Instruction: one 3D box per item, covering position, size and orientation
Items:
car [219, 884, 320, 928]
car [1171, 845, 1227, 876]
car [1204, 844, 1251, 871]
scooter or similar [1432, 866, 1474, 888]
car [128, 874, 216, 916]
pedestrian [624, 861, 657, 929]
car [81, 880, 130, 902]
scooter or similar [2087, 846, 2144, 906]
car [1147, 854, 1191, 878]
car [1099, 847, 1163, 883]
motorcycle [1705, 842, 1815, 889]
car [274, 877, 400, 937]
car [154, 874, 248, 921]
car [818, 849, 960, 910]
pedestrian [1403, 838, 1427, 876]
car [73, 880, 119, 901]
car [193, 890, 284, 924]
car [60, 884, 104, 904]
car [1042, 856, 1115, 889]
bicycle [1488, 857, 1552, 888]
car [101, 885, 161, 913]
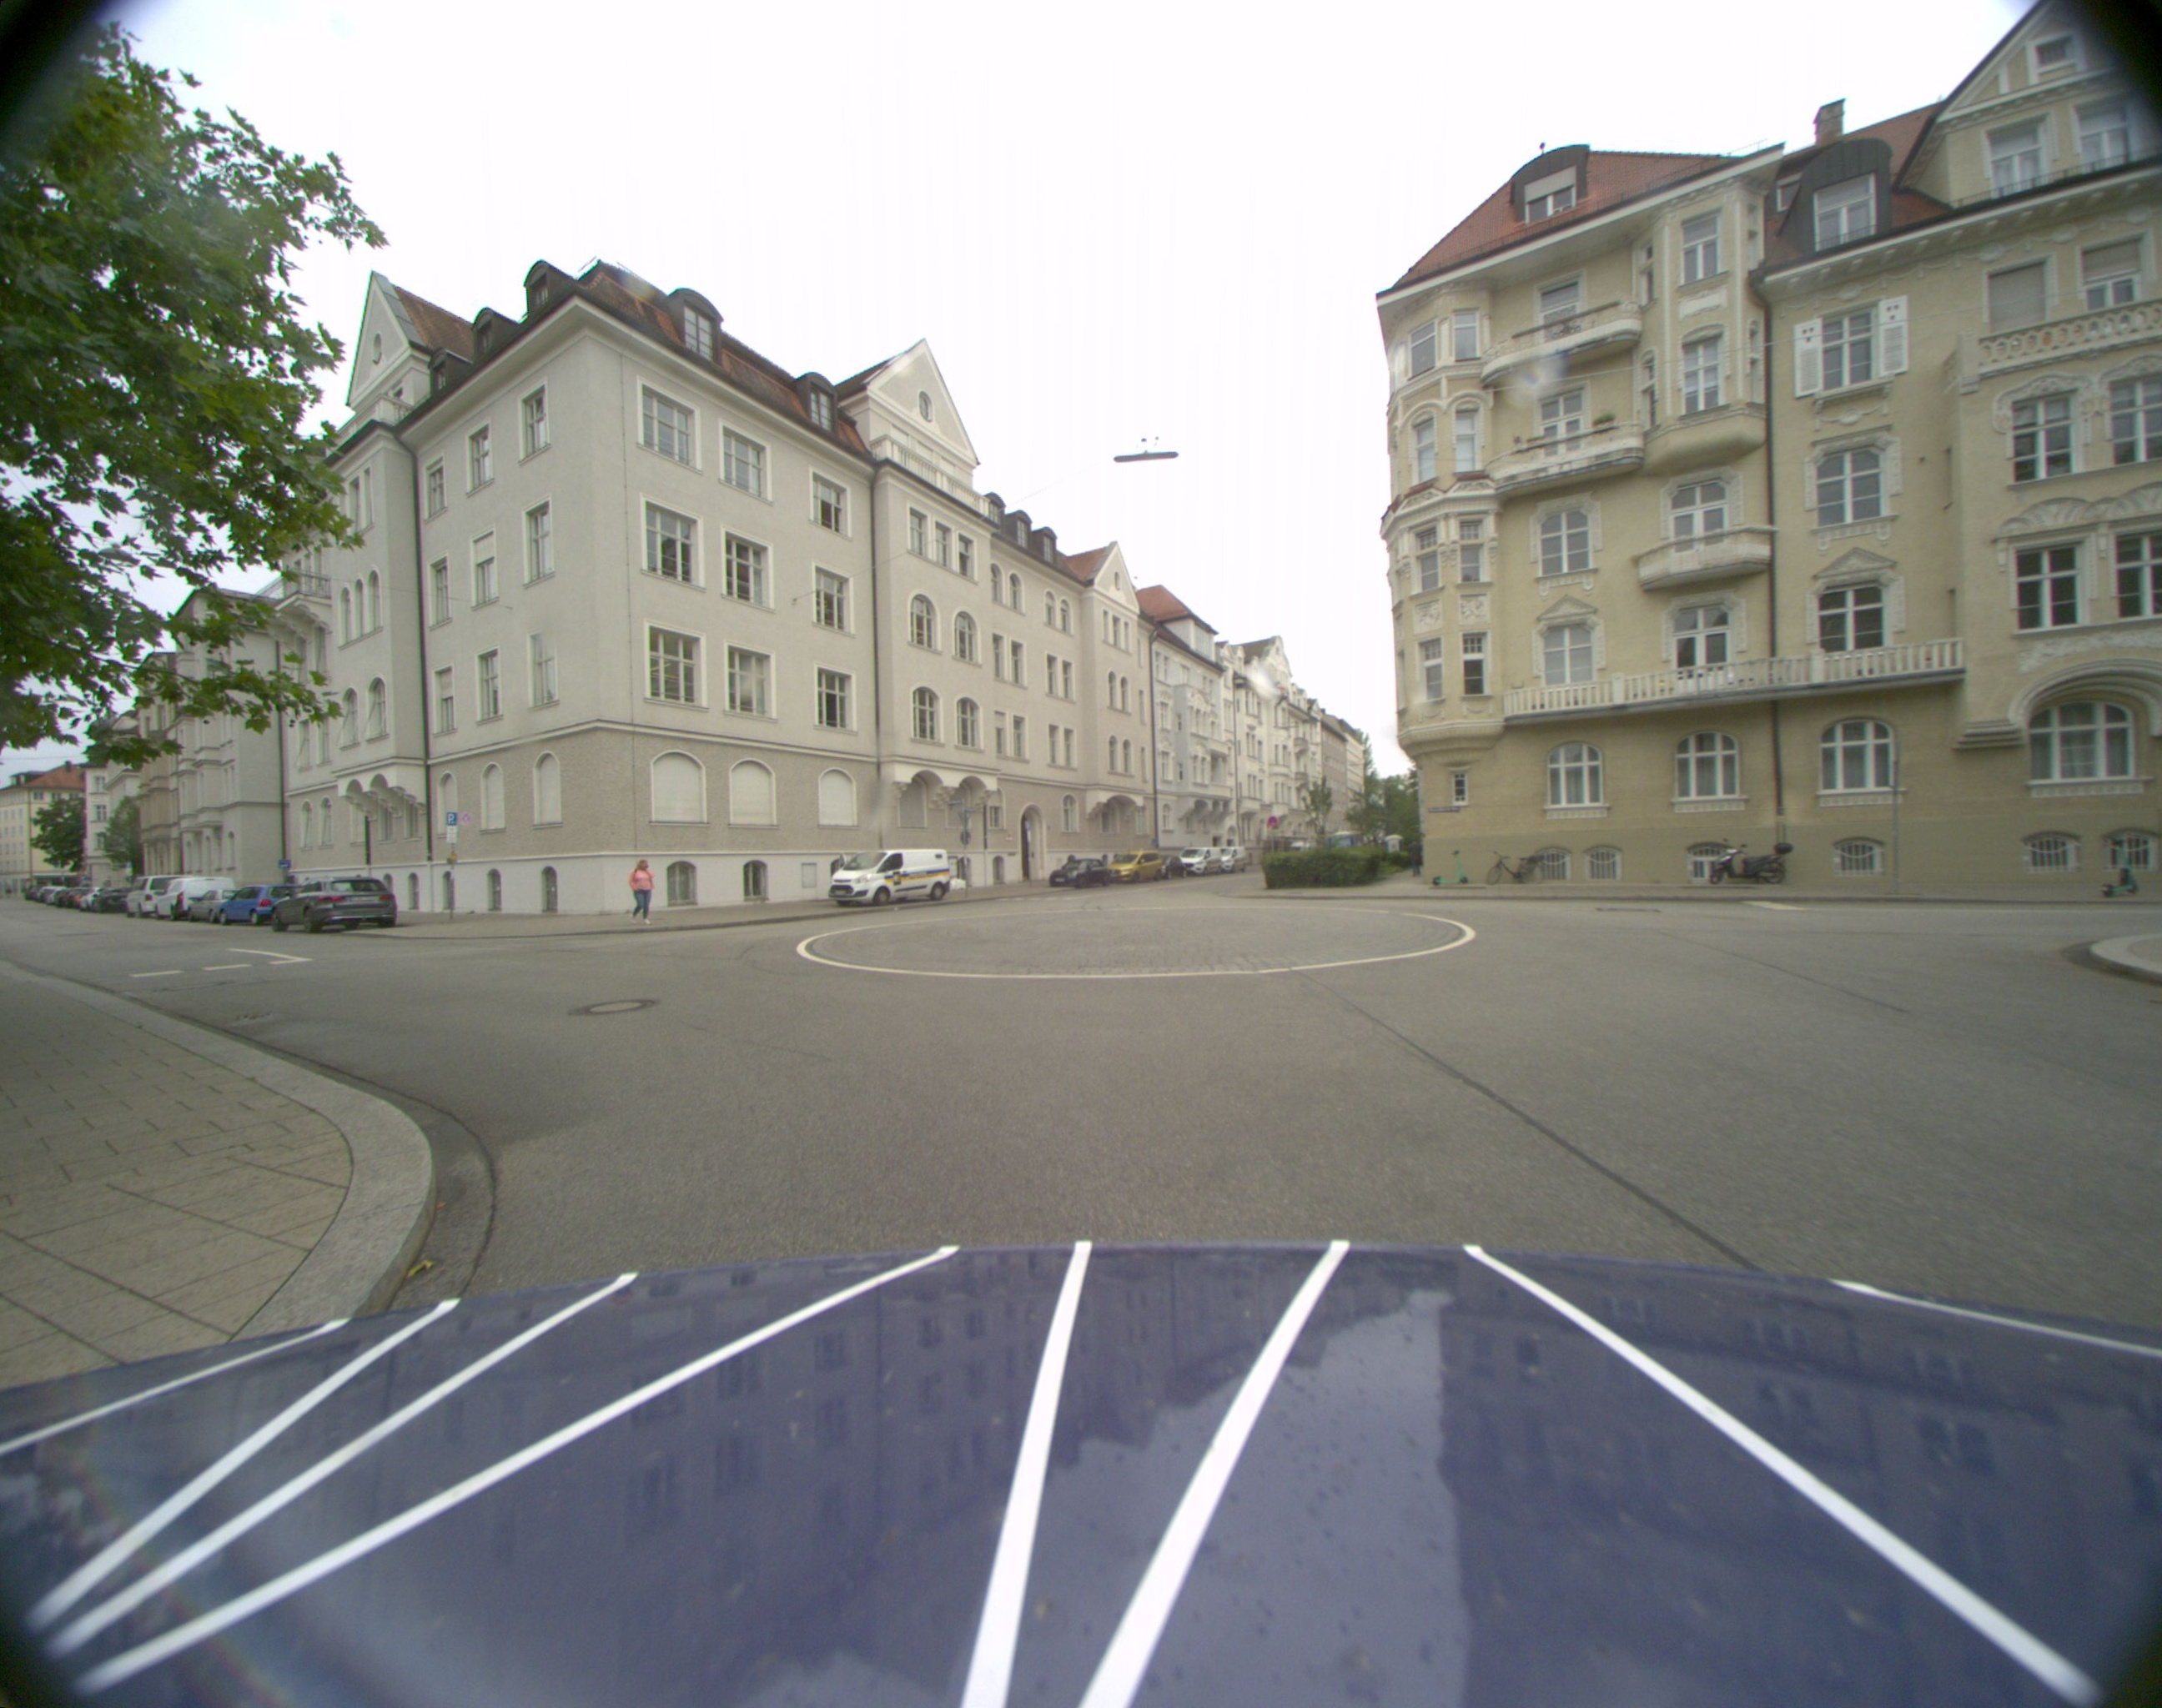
[{"bbox_3d":[-28.963,1.822,27.111,3.289,1.325,1.704,-1,2,30],"label":"car"},{"bbox_3d":[8.235,0.409,52.646,2.153,1.902,4.780,-1,2,30],"label":"car"},{"bbox_3d":[11.246,0.243,58.103,2.049,1.928,4.583,-1,2,30],"label":"car"},{"bbox_3d":[12.684,0.787,25.913,1.232,0.683,0.317,-2,2,1],"label":"scooter or similar"},{"bbox_3d":[-42.719,1.869,35.706,4.041,1.748,1.913,-1,2,30],"label":"car"},{"bbox_3d":[-11.663,1.070,20.131,0.404,1.758,0.571,-1,2,39],"label":"pedestrian"},{"bbox_3d":[-67.245,2.538,52.372,3.989,1.346,1.791,-1,2,35],"label":"car"},{"bbox_3d":[22.529,0.464,16.544,1.279,1.223,0.408,-3,2,-21],"label":"scooter or similar"},{"bbox_3d":[5.550,0.716,47.535,1.438,1.351,3.364,-1,2,32],"label":"car"},{"bbox_3d":[2.875,0.573,42.806,1.791,1.809,4.311,-1,2,32],"label":"car"},{"bbox_3d":[19.733,0.343,22.140,2.240,1.319,0.825,-1,2,27],"label":"motorcycle"},{"bbox_3d":[-22.639,1.547,23.085,3.989,1.574,1.741,-1,2,32],"label":"car"},{"bbox_3d":[-37.559,1.800,32.406,4.097,1.748,1.827,-1,2,30],"label":"car"},{"bbox_3d":[-6.805,0.832,27.476,1.946,1.924,4.983,-1,1,32],"label":"car"},{"bbox_3d":[15.996,0.160,36.430,0.702,1.782,0.745,-3,2,-33],"label":"pedestrian"},{"bbox_3d":[-70.918,2.620,54.684,3.989,1.346,1.791,-1,2,35],"label":"car"},{"bbox_3d":[-33.010,2.036,29.765,3.207,1.083,1.704,-1,2,30],"label":"car"},{"bbox_3d":[-75.869,2.993,57.716,3.989,1.346,1.791,-1,2,35],"label":"car"},{"bbox_3d":[-0.066,0.895,38.388,1.946,1.412,3.826,-1,2,32],"label":"car"},{"bbox_3d":[14.565,0.617,25.247,1.781,0.986,0.544,-1,2,26],"label":"bicycle"},{"bbox_3d":[-54.159,2.527,43.310,3.989,1.346,1.791,-1,2,35],"label":"car"}]
